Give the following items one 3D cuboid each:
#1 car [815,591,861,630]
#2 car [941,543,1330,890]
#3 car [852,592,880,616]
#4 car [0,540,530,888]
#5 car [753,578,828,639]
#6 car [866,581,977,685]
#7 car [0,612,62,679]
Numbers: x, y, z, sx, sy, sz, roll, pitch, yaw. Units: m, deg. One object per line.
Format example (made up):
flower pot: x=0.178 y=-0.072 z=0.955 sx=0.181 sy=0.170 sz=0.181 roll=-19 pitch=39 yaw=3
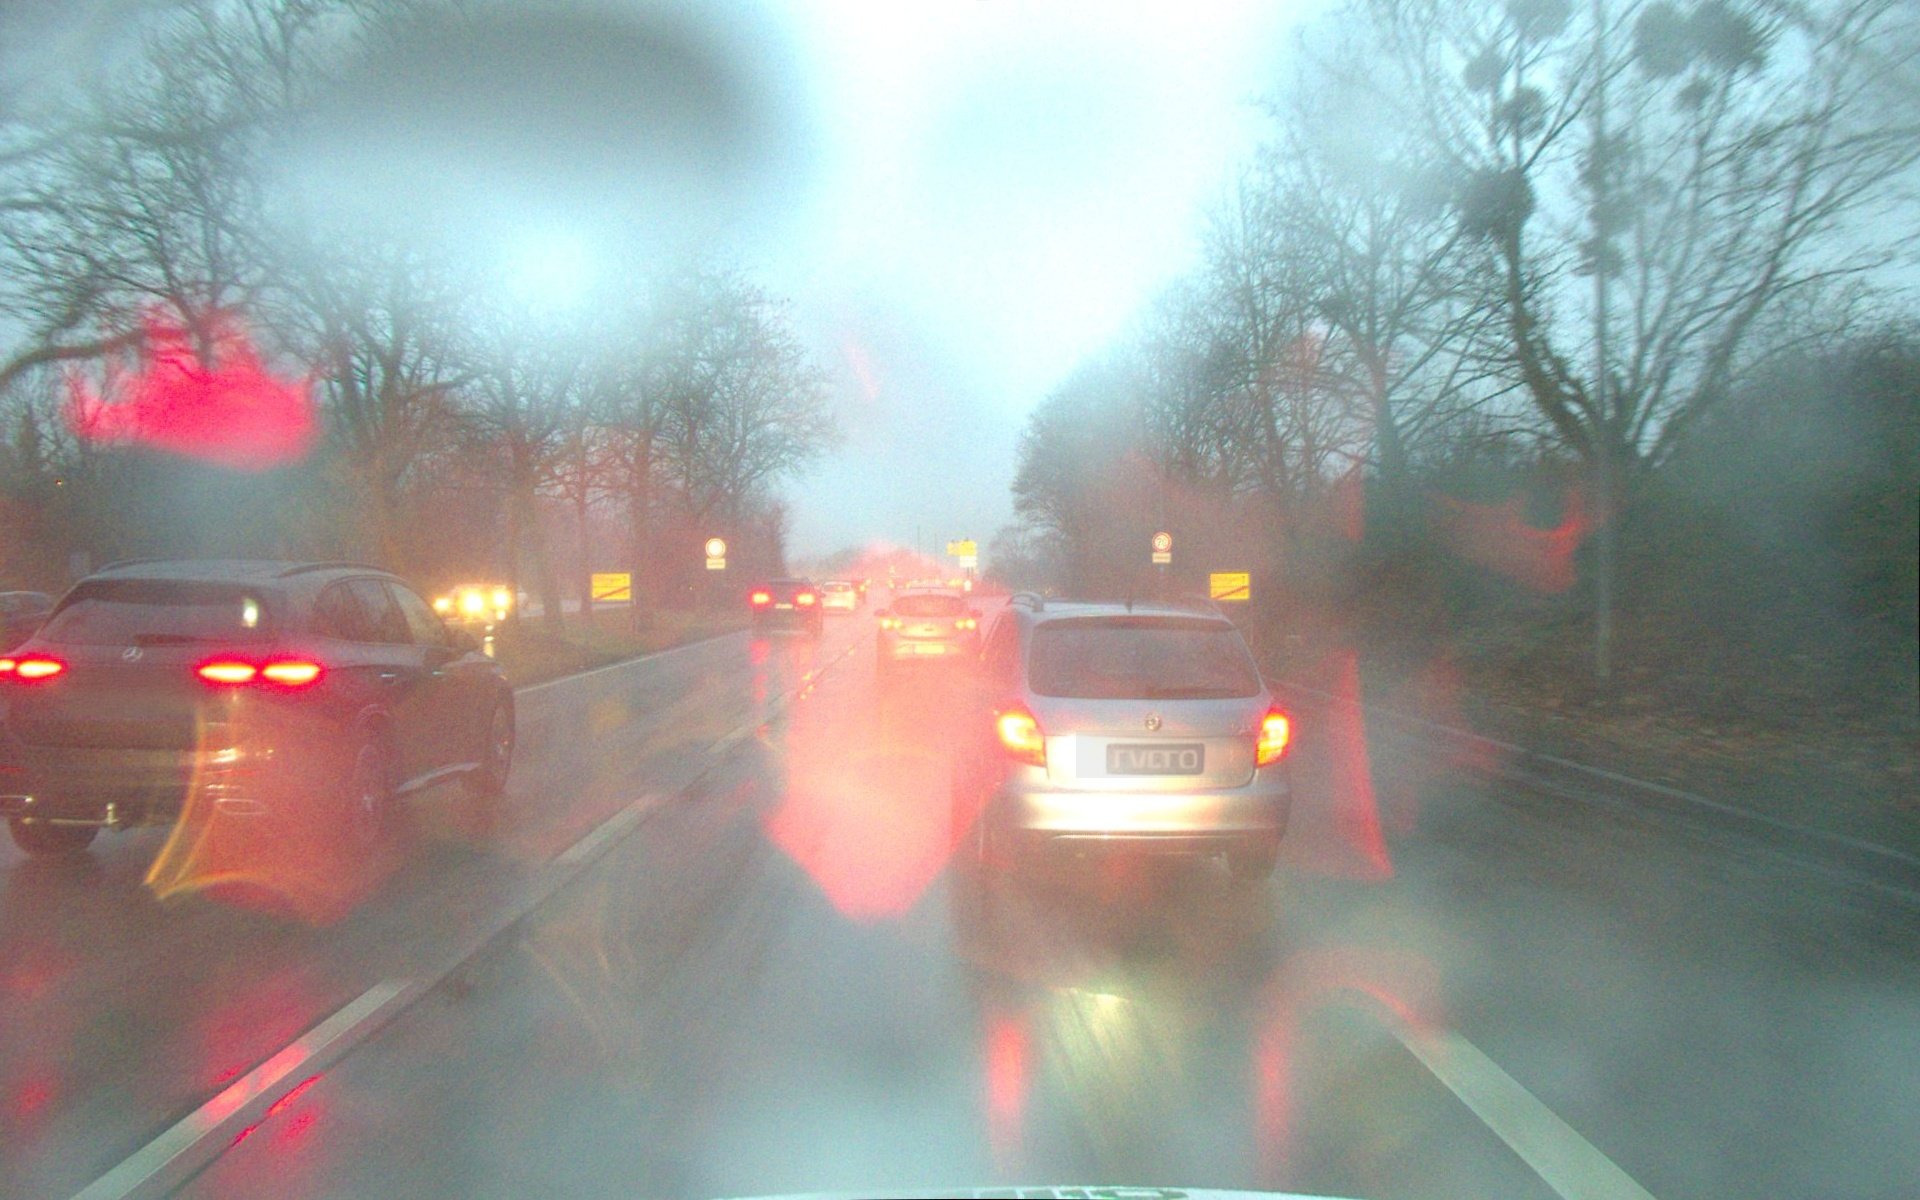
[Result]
car: x=-5.519 y=0.478 z=75.058 sx=1.785 sy=1.677 sz=3.999 roll=0 pitch=-1 yaw=0
car: x=0.845 y=0.614 z=10.396 sx=1.894 sy=1.677 sz=4.465 roll=1 pitch=-1 yaw=-1
car: x=-5.457 y=0.239 z=96.429 sx=1.474 sy=1.362 sz=3.999 roll=0 pitch=-1 yaw=-1
car: x=-4.061 y=0.569 z=10.273 sx=1.786 sy=1.677 sz=4.464 roll=0 pitch=-1 yaw=-2
car: x=-4.821 y=0.243 z=47.398 sx=1.785 sy=1.677 sz=3.999 roll=0 pitch=-1 yaw=-1
car: x=-0.664 y=0.581 z=29.336 sx=1.785 sy=1.677 sz=4.465 roll=1 pitch=-1 yaw=-1
car: x=-20.935 y=0.958 z=35.211 sx=1.605 sy=1.363 sz=3.997 roll=1 pitch=0 yaw=-3
